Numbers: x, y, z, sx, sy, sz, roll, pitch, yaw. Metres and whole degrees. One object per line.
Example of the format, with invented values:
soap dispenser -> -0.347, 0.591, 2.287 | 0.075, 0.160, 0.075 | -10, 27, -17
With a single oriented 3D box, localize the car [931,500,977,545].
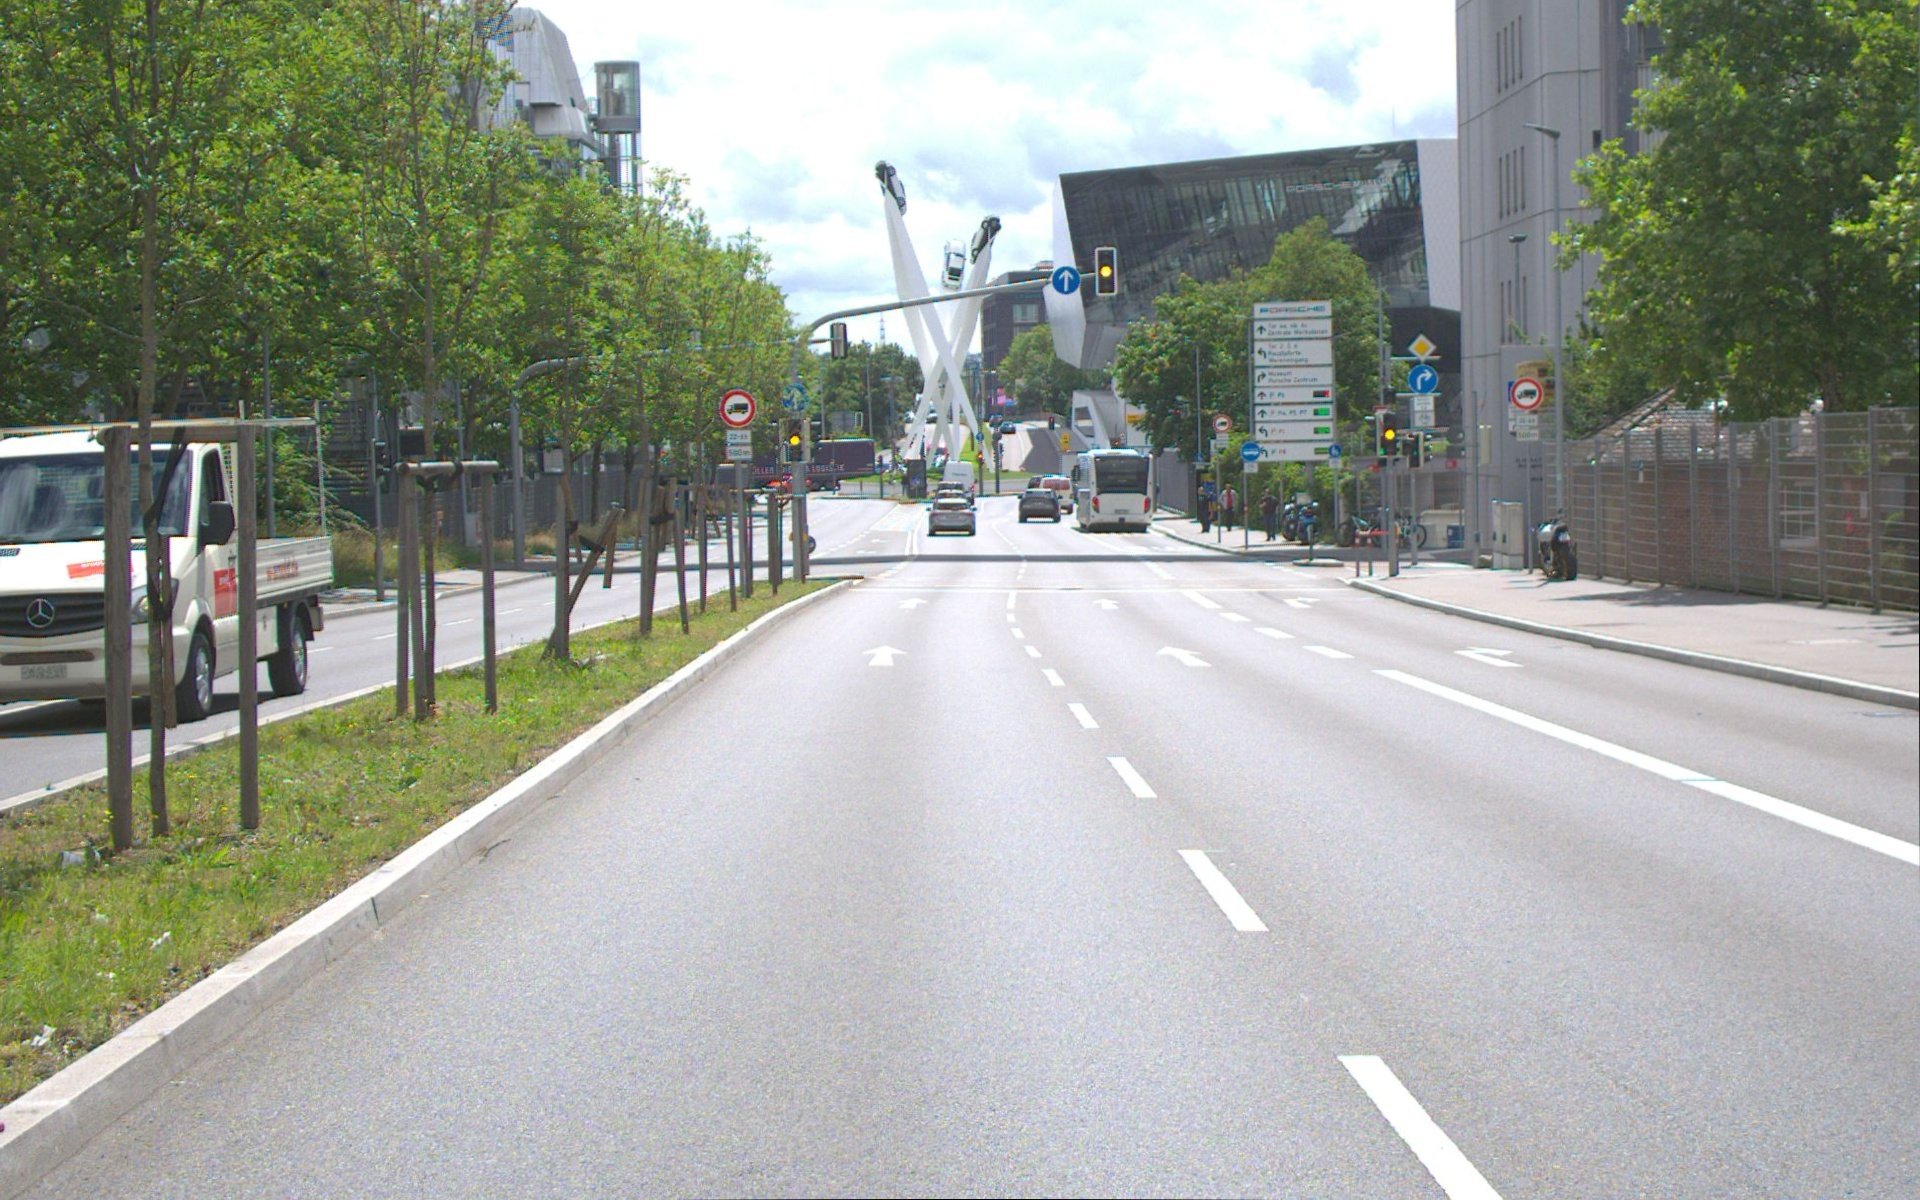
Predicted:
car -> -0.205, -3.039, 134.497 | 1.738, 1.735, 3.691 | 0, 2, 1

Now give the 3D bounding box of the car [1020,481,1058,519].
car -> 3.628, -4.610, 159.050 | 1.738, 1.735, 3.691 | 0, 2, 1

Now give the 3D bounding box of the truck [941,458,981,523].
truck -> 0.096, -6.726, 211.585 | 2.392, 3.884, 6.177 | 0, 2, 1

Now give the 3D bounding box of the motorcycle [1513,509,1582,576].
motorcycle -> 10.473, -1.041, 61.319 | 0.692, 1.154, 2.148 | -2, 2, -4

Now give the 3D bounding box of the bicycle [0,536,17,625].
bicycle -> -14.599, -0.277, 48.561 | 2.404, 1.253, 0.556 | 0, 1, 2

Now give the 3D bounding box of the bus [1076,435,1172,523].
bus -> 6.758, -5.014, 143.470 | 3.452, 3.531, 10.607 | 0, 2, 0

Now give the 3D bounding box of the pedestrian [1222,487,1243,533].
pedestrian -> 10.213, -3.375, 128.777 | 0.635, 1.735, 0.823 | 0, 1, -8

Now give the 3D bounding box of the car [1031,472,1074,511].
car -> 4.985, -5.874, 186.048 | 1.993, 2.007, 4.001 | 1, 0, -3

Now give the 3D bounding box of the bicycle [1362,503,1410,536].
bicycle -> 12.288, -2.336, 99.203 | 0.397, 0.933, 1.929 | -1, 2, -25

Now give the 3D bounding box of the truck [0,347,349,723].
truck -> -6.889, -0.554, 28.560 | 2.479, 2.741, 6.459 | -1, 1, -1

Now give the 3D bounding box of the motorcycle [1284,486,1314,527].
motorcycle -> 10.359, -2.862, 105.070 | 0.706, 1.199, 2.024 | -2, 2, 1

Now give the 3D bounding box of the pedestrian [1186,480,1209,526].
pedestrian -> 8.921, -3.640, 128.953 | 0.820, 1.701, 0.881 | 0, 1, 1

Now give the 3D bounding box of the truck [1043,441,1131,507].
truck -> 8.632, -8.460, 231.873 | 3.455, 4.376, 9.412 | 0, 2, 18

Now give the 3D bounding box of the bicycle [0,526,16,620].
bicycle -> -14.800, -0.389, 49.707 | 2.167, 1.359, 0.490 | 0, 1, 2
